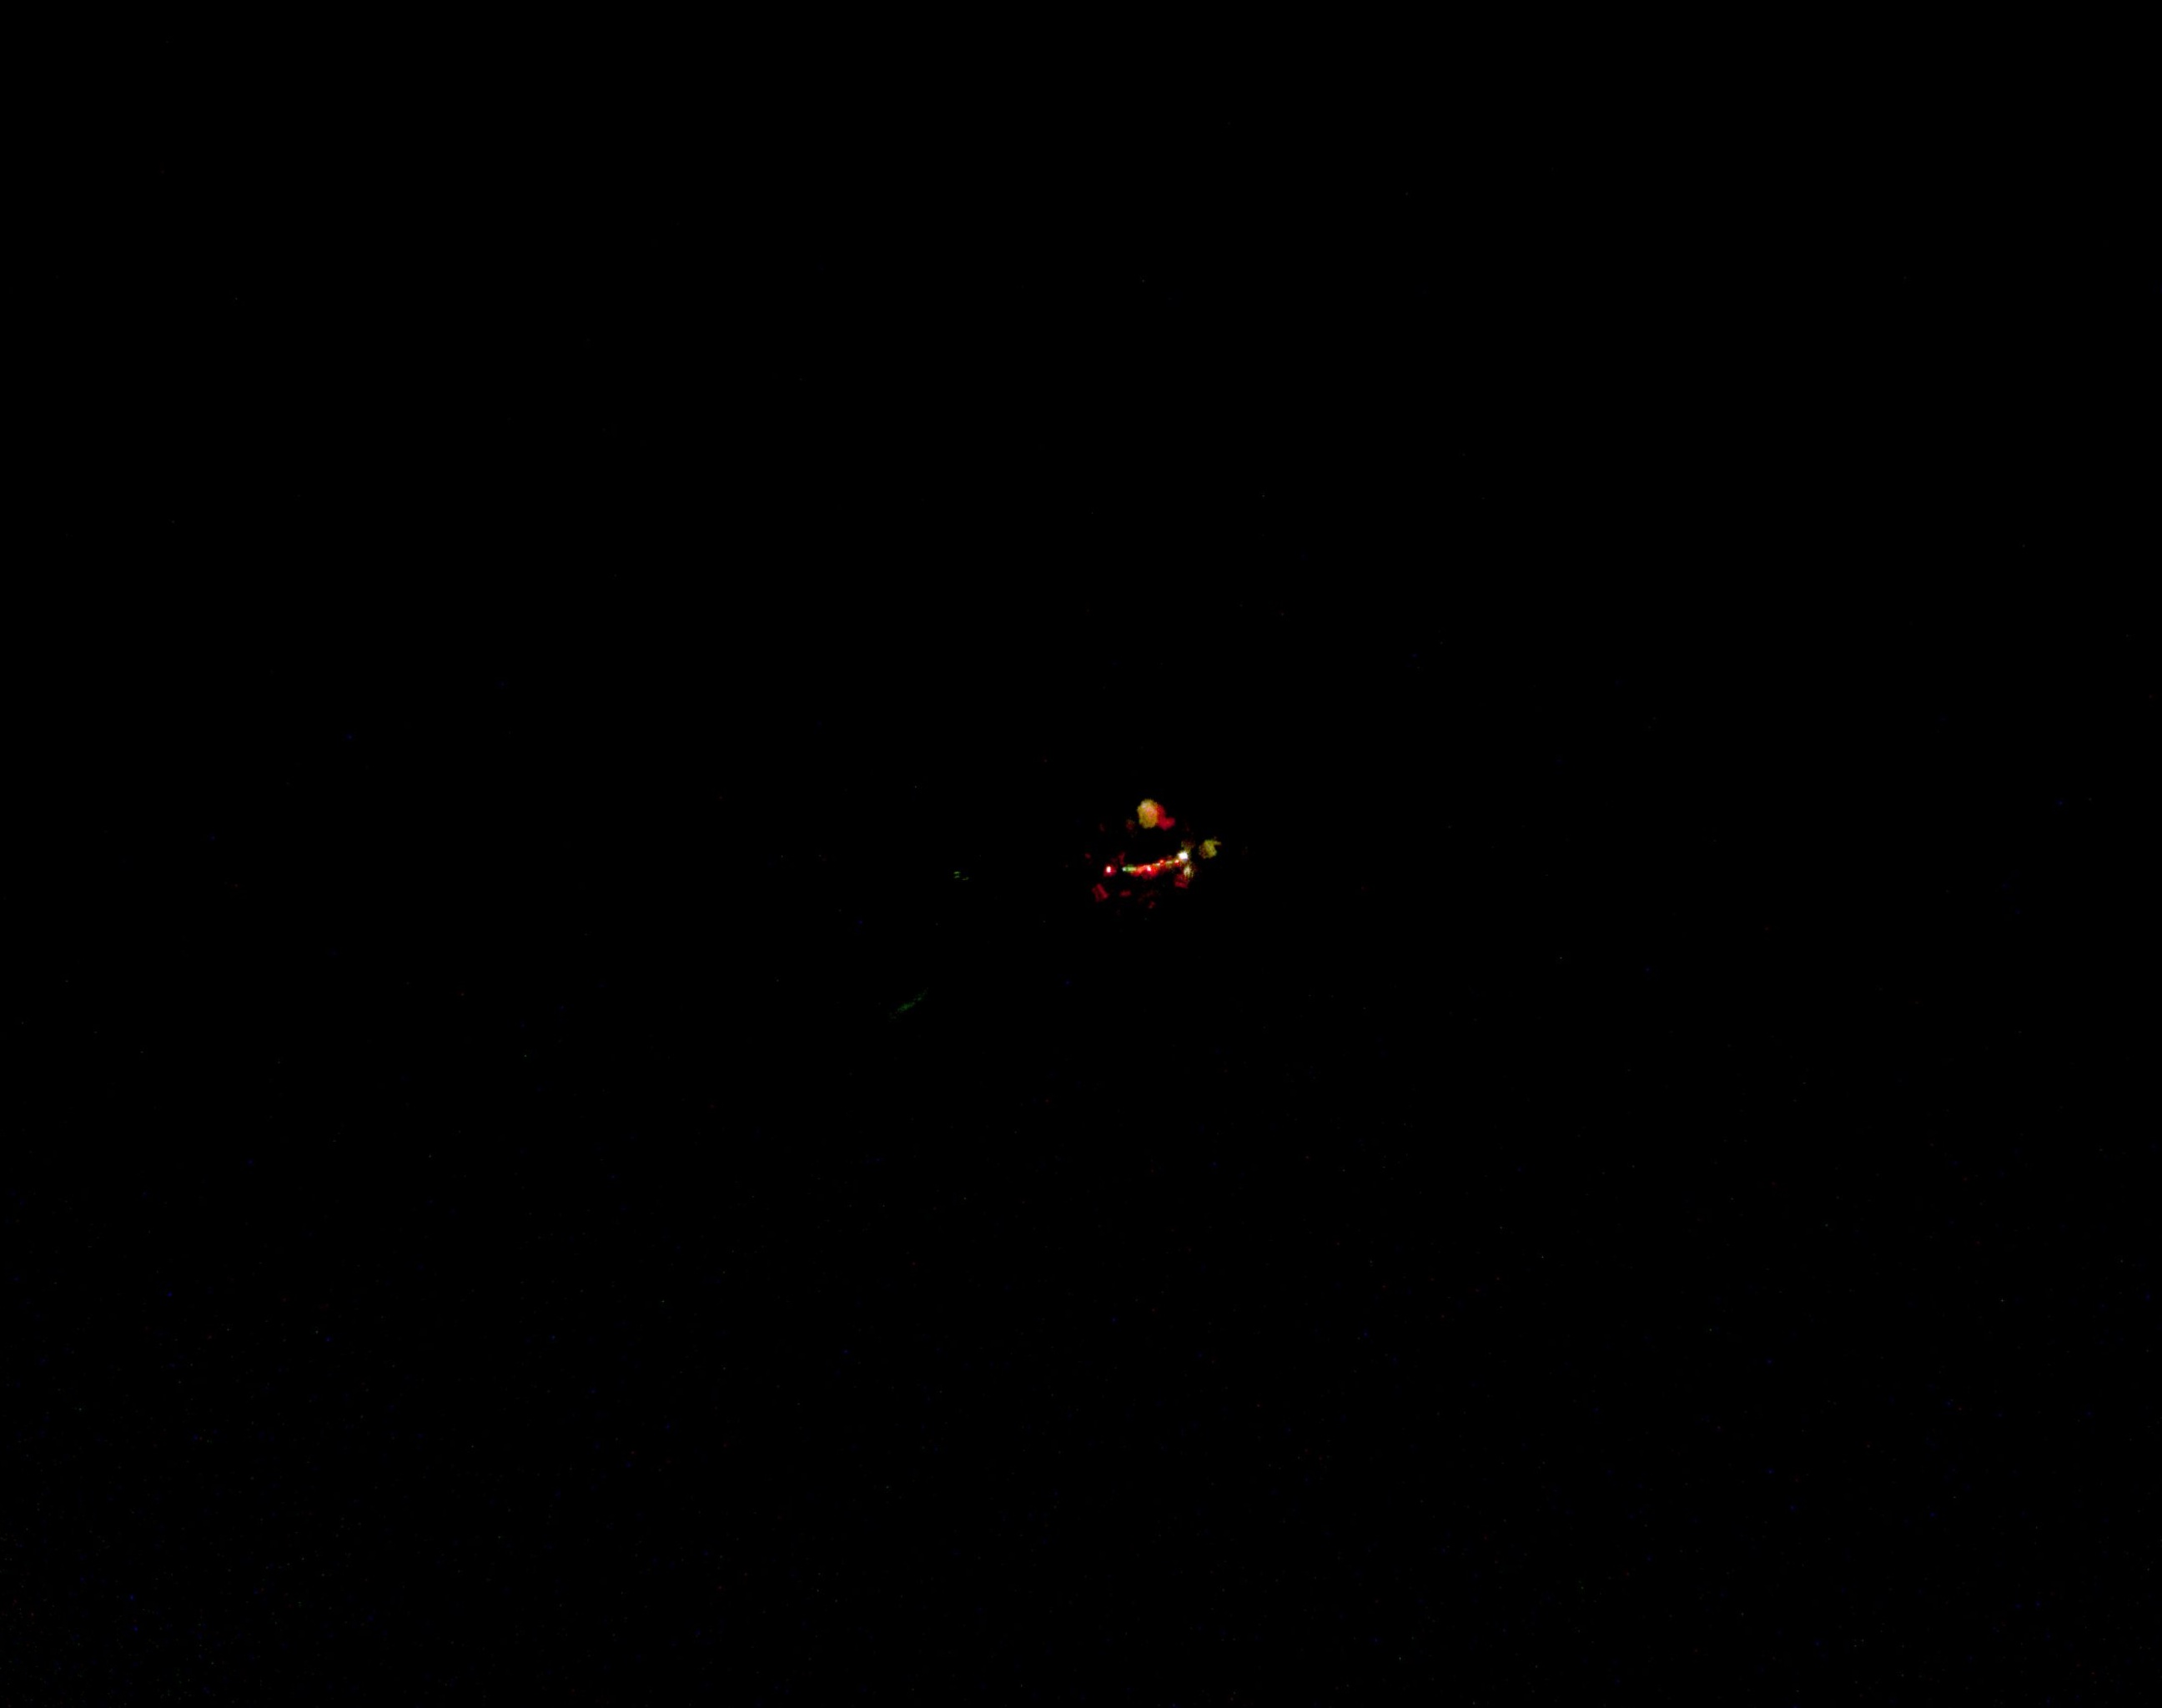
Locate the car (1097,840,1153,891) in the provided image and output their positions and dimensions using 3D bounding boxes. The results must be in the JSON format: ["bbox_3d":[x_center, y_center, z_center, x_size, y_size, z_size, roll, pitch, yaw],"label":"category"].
[{"bbox_3d":[1.848,0.401,32.999,1.984,1.806,3.923,-4,1,5],"label":"car"}]
